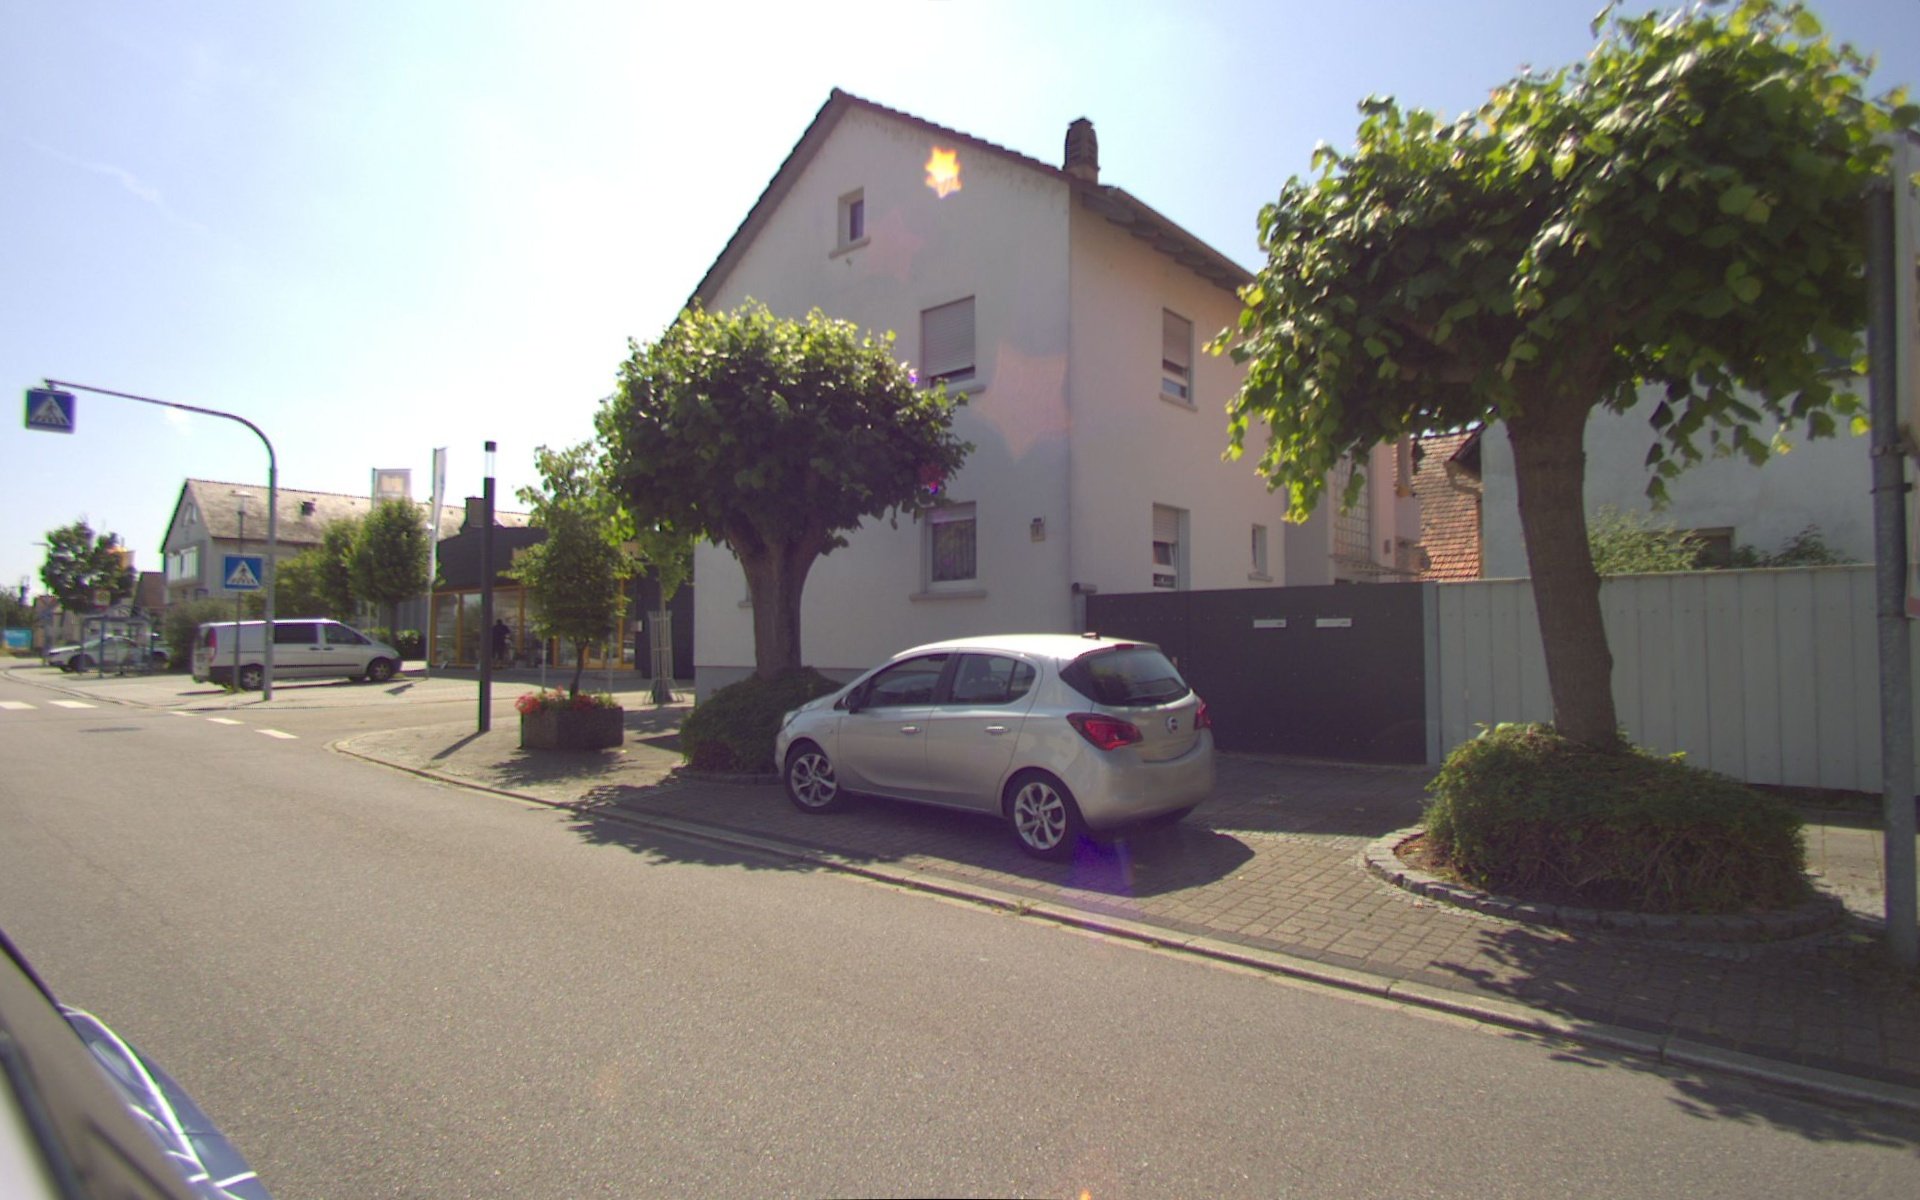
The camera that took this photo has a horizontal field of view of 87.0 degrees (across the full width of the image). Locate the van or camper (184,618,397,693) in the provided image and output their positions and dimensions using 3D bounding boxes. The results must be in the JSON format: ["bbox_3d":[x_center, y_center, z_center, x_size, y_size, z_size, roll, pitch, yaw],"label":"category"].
[{"bbox_3d":[-18.883,1.514,28.719,1.999,1.877,4.692,-3,-2,40],"label":"van or camper"}]

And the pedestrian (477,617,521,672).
[{"bbox_3d":[-15.389,1.481,33.798,0.922,1.788,1.069,0,-2,5],"label":"pedestrian"}]

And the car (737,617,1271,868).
[{"bbox_3d":[0.171,0.925,8.233,4.131,1.494,1.805,-2,-1,42],"label":"car"}]

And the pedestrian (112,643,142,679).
[{"bbox_3d":[-31.943,2.335,38.814,0.607,1.369,0.776,-2,-2,42],"label":"pedestrian"}]

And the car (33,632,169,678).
[{"bbox_3d":[-37.509,2.359,44.261,1.941,1.732,4.202,-2,-1,35],"label":"car"}]
